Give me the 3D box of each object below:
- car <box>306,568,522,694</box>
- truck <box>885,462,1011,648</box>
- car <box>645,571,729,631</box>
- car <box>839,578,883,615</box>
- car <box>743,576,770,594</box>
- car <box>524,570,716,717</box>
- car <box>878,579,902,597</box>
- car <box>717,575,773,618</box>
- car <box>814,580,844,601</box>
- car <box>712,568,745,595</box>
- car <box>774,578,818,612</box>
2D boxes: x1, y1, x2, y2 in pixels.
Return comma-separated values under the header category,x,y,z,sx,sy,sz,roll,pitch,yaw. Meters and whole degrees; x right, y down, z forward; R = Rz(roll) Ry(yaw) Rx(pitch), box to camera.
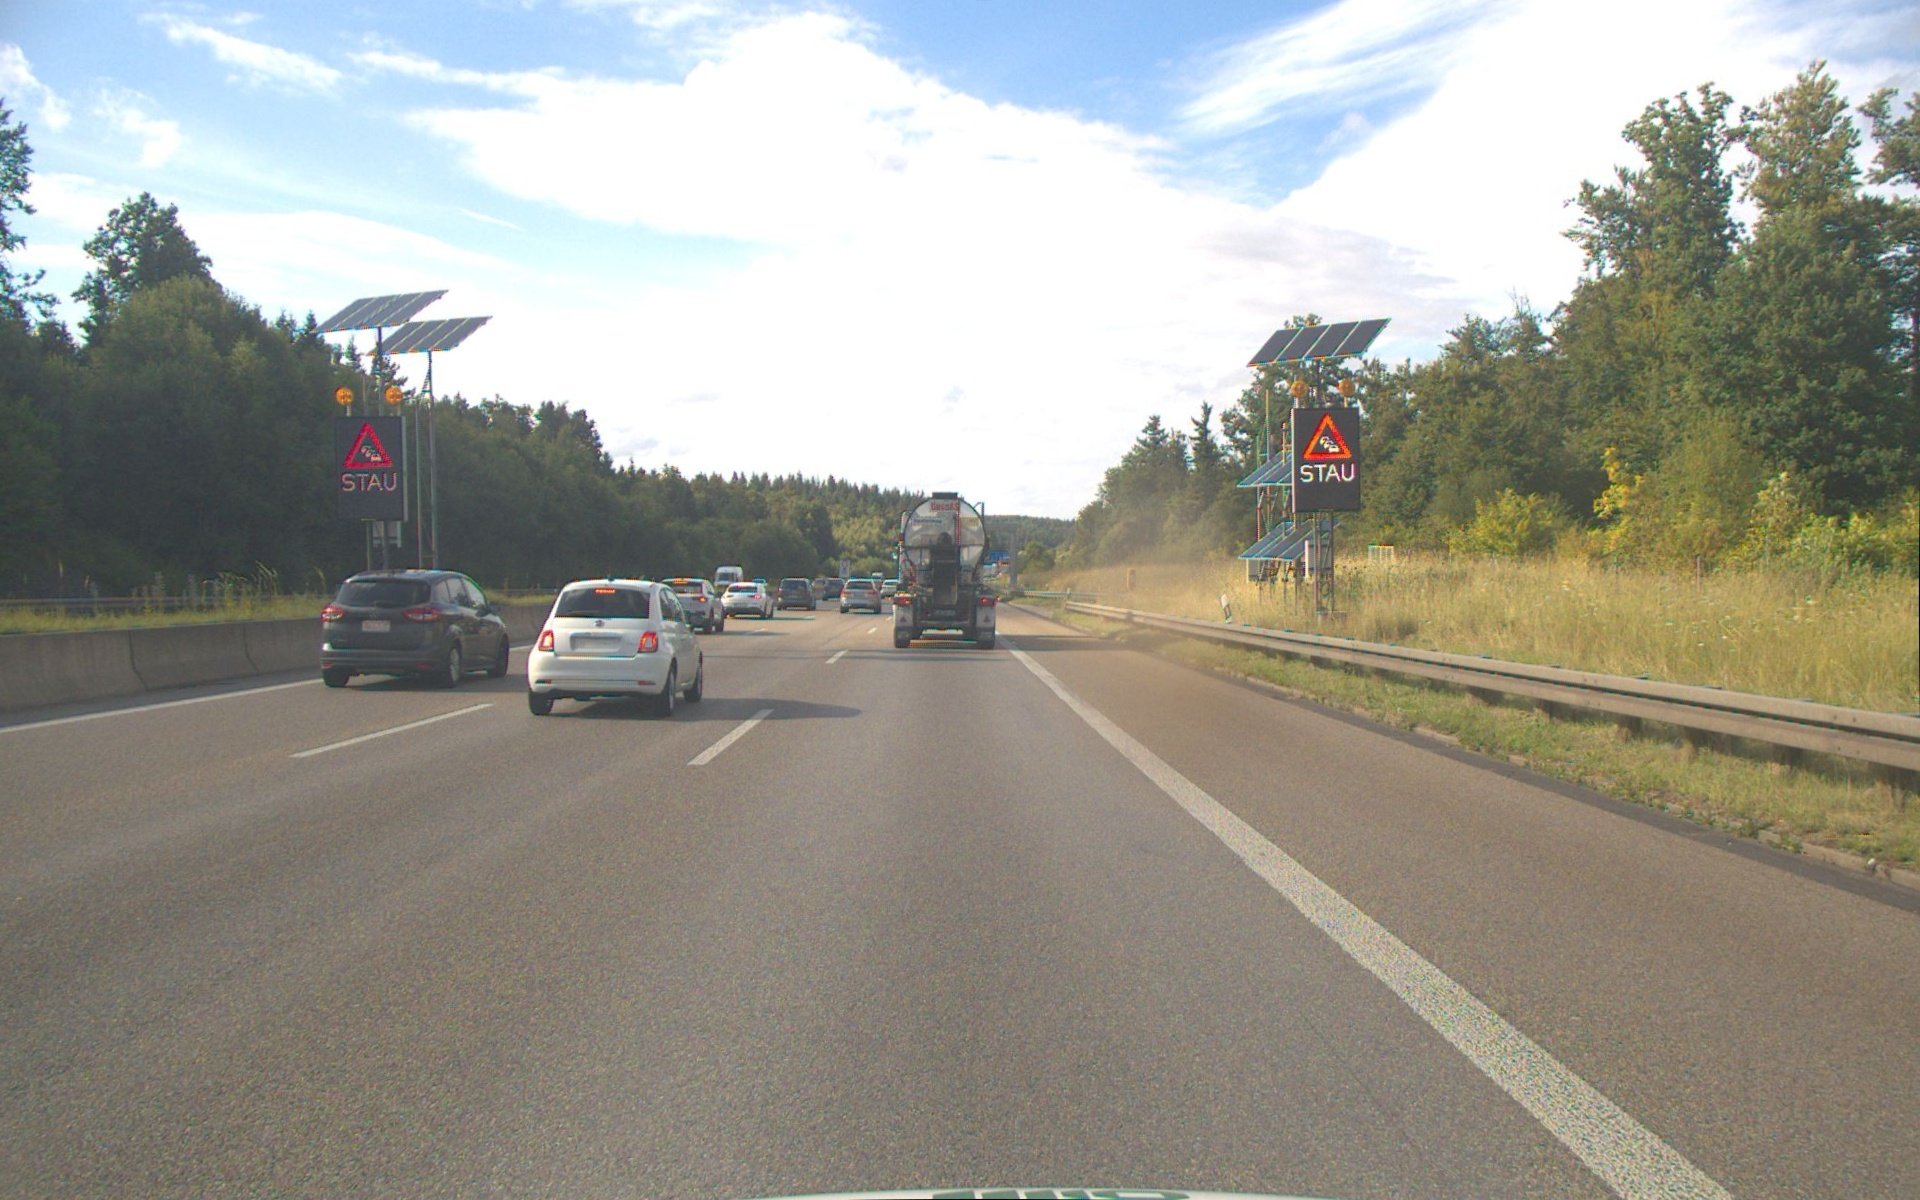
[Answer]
category,x,y,z,sx,sy,sz,roll,pitch,yaw
car,-7.749,0.369,23.880,1.770,1.613,4.206,1,1,-1
truck,-0.311,-1.101,43.537,2.853,4.230,11.269,0,1,0
car,-7.808,-0.007,47.600,1.770,1.613,4.206,1,1,-1
car,-4.802,-0.183,80.617,1.903,1.683,4.206,1,1,-1
car,-24.606,-1.788,199.870,2.526,2.176,5.965,0,1,-1
car,-3.940,0.459,19.657,1.585,1.571,3.519,1,0,-1
car,-6.023,-1.021,142.318,1.903,1.482,4.206,1,1,-1
car,-8.611,-0.149,66.577,1.770,1.613,4.206,1,1,-1
car,-9.807,-0.743,124.085,1.903,1.482,4.206,1,1,-1
car,-20.748,-1.702,148.604,2.066,2.353,6.723,0,1,-1
car,-8.489,-0.278,85.844,1.903,1.613,4.206,1,1,-1
